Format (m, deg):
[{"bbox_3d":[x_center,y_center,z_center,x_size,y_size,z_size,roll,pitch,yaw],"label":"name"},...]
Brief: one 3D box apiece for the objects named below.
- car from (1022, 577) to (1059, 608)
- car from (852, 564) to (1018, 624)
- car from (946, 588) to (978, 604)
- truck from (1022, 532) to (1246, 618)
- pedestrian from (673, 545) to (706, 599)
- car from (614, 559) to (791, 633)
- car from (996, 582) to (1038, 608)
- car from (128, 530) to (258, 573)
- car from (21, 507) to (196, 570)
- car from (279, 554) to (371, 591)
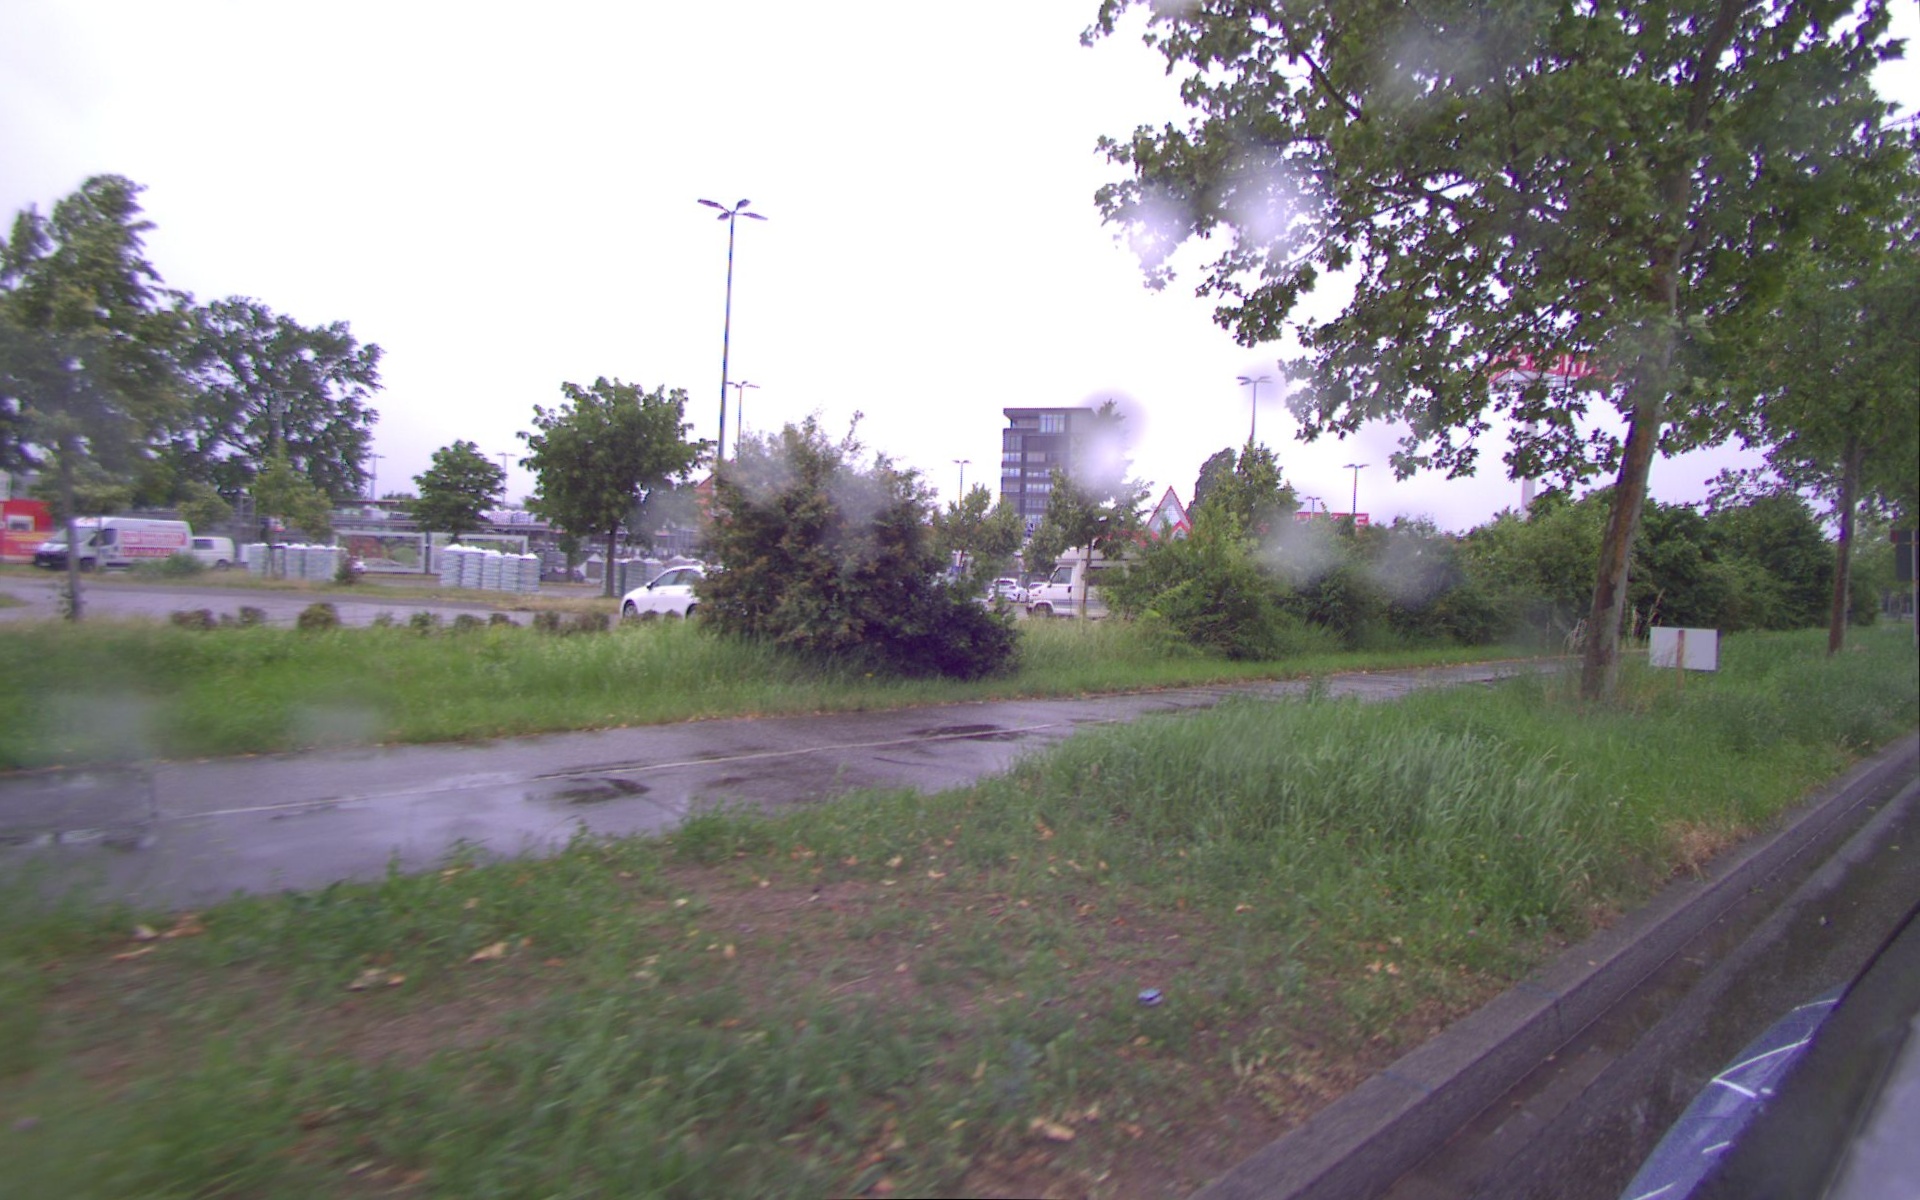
[{"bbox_3d":[5.552,-0.493,69.611,1.871,2.039,4.057,1,1,14],"label":"car"},{"bbox_3d":[-0.681,-0.169,25.133,1.967,1.382,3.990,-1,1,-44],"label":"car"},{"bbox_3d":[0.203,-0.382,89.697,1.834,1.373,3.856,1,1,15],"label":"car"},{"bbox_3d":[5.065,-0.727,30.388,6.530,2.333,2.186,1,1,43],"label":"truck"},{"bbox_3d":[-9.215,-0.943,34.498,0.786,1.810,0.702,1,1,-45],"label":"pedestrian"},{"bbox_3d":[-5.395,-0.104,20.964,1.838,1.382,3.990,-1,1,-44],"label":"car"},{"bbox_3d":[3.445,-0.306,60.341,1.759,1.497,4.057,1,1,14],"label":"car"},{"bbox_3d":[-42.942,-2.665,56.832,1.977,2.170,5.628,0,1,23],"label":"car"},{"bbox_3d":[-35.489,-2.492,42.434,1.969,2.364,5.652,0,1,11],"label":"car"},{"bbox_3d":[-39.819,-1.750,63.495,5.085,2.229,2.072,1,3,17],"label":"car"}]
